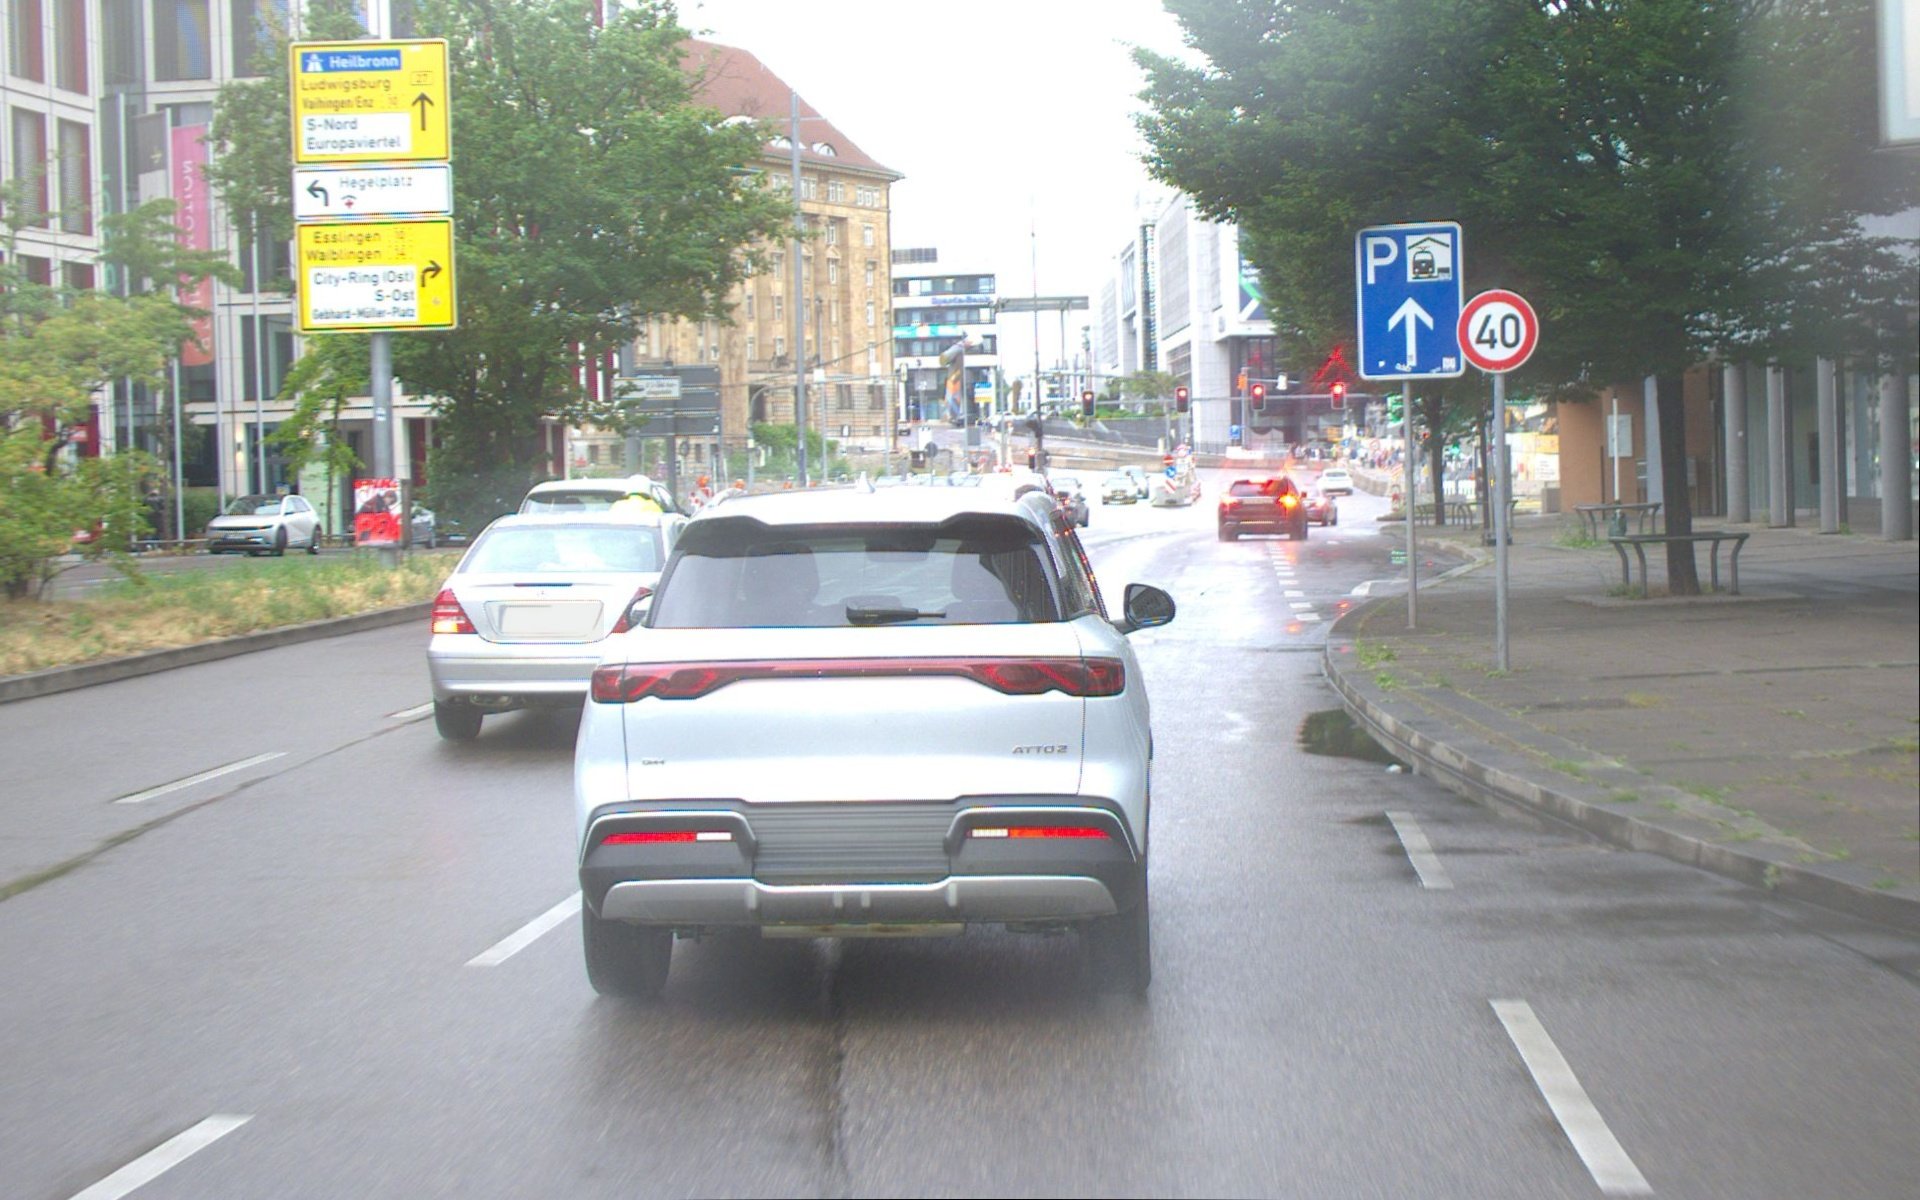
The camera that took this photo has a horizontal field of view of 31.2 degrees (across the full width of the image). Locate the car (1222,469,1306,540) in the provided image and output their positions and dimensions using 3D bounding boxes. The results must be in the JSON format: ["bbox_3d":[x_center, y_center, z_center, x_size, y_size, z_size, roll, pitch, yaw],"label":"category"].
[{"bbox_3d":[6.896,-2.144,77.735,1.694,1.481,3.999,0,0,8],"label":"car"}]

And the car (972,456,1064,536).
[{"bbox_3d":[1.199,-2.076,69.432,1.571,1.481,3.999,0,0,5],"label":"car"}]

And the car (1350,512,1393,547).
[{"bbox_3d":[24.476,-4.200,204.506,1.993,2.006,4.001,-1,2,-1],"label":"car"}]

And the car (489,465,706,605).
[{"bbox_3d":[-4.038,-0.705,38.852,1.707,1.481,3.999,0,0,5],"label":"car"}]

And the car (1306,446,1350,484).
[{"bbox_3d":[20.797,-7.631,194.599,1.993,2.007,4.000,0,0,-1],"label":"car"}]

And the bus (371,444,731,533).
[{"bbox_3d":[-19.988,-5.432,168.610,16.967,4.049,4.437,0,0,6],"label":"bus"}]

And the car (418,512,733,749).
[{"bbox_3d":[-2.440,0.178,22.632,1.570,1.402,4.109,0,0,0],"label":"car"}]

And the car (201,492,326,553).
[{"bbox_3d":[-17.959,-2.015,88.814,1.994,1.483,3.999,-1,2,7],"label":"car"}]

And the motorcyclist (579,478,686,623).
[{"bbox_3d":[-3.176,-0.475,33.423,0.770,1.375,1.118,0,0,10],"label":"motorcyclist"}]

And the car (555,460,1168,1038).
[{"bbox_3d":[-0.224,0.407,12.029,1.776,1.673,4.000,0,1,2],"label":"car"}]

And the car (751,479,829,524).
[{"bbox_3d":[-5.799,-3.380,118.027,1.994,1.481,3.999,-1,2,7],"label":"car"}]

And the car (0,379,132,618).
[{"bbox_3d":[-8.987,-0.846,30.423,1.993,2.007,4.848,0,0,2],"label":"car"}]

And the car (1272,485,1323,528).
[{"bbox_3d":[12.765,-3.522,129.870,1.694,1.481,3.998,0,0,9],"label":"car"}]

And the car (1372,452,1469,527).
[{"bbox_3d":[11.430,-2.734,85.558,1.851,1.744,4.000,0,0,0],"label":"car"}]
